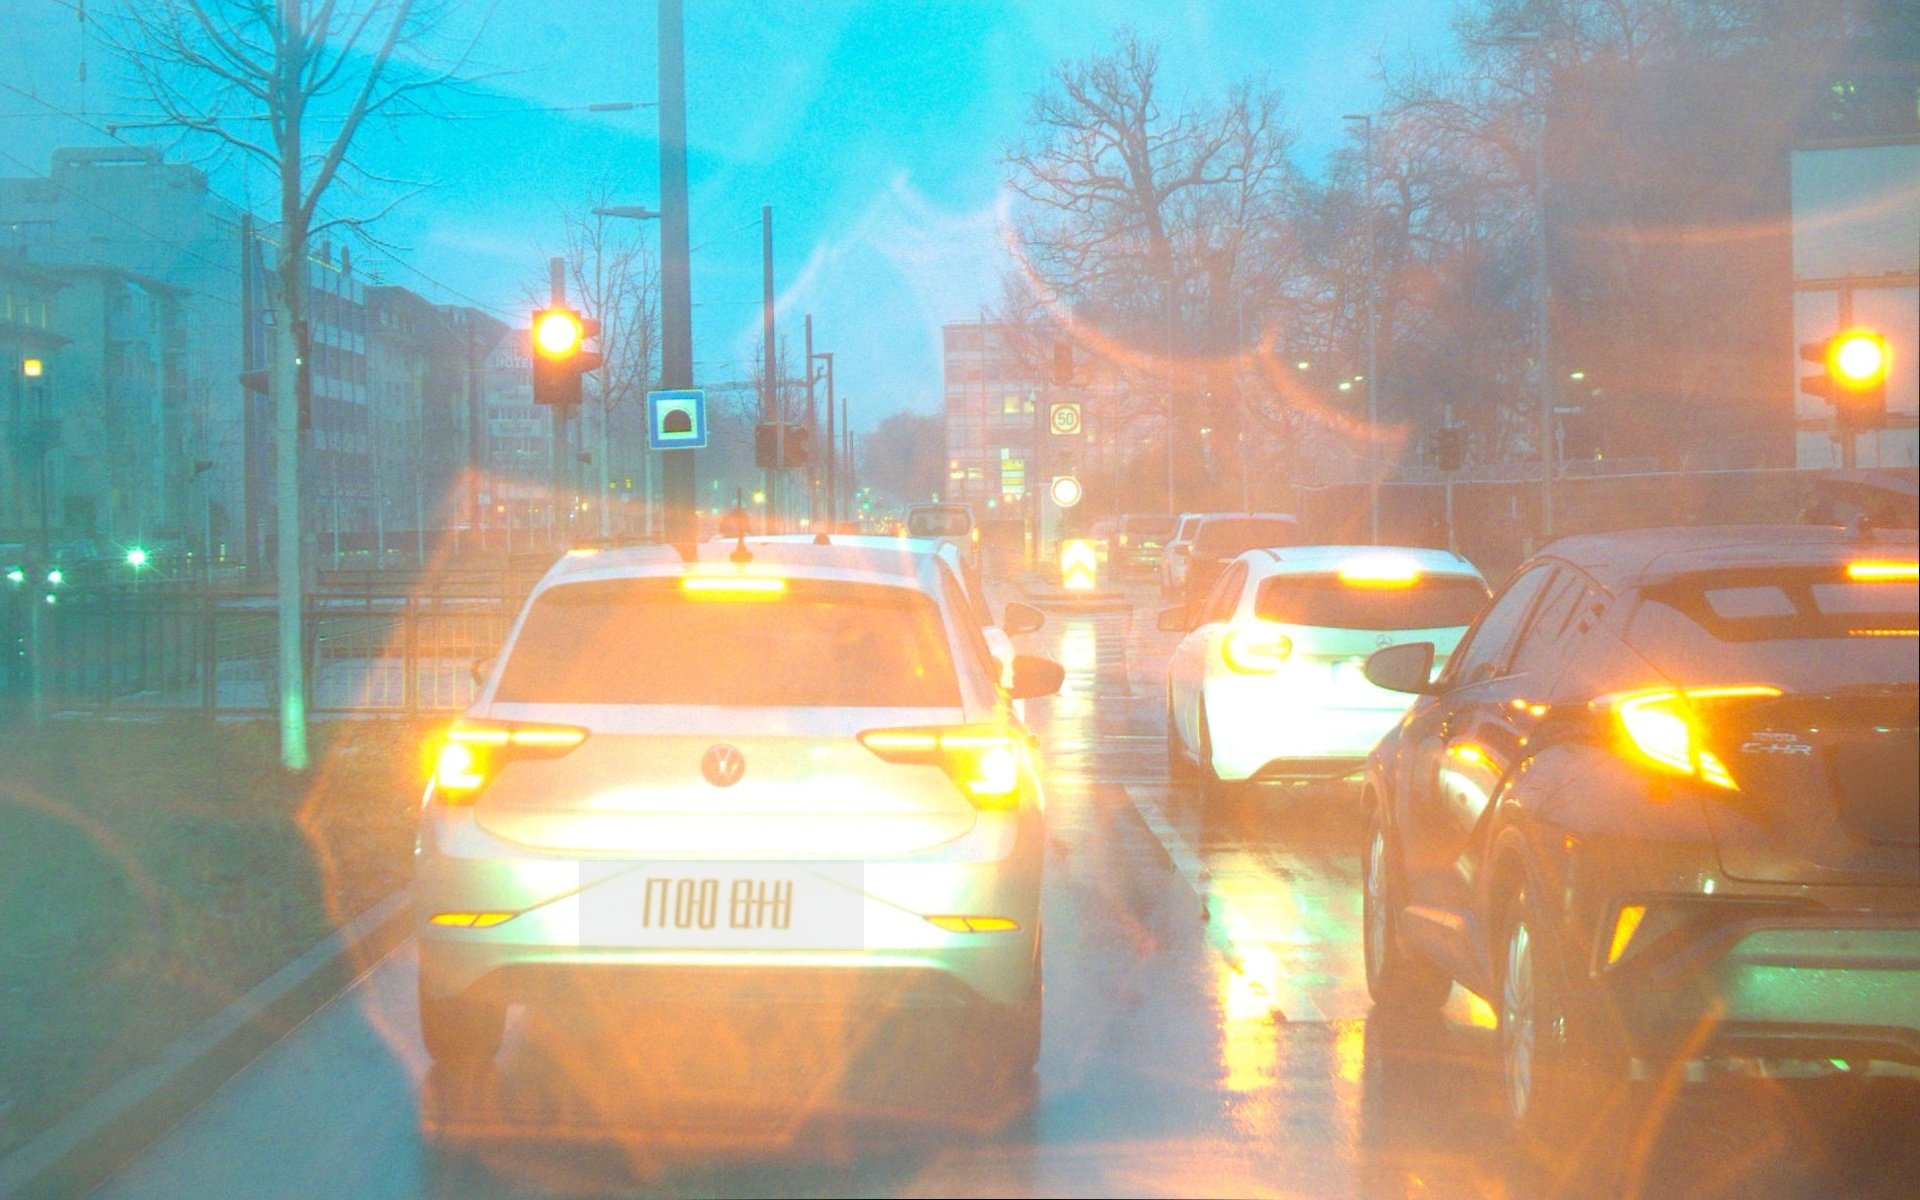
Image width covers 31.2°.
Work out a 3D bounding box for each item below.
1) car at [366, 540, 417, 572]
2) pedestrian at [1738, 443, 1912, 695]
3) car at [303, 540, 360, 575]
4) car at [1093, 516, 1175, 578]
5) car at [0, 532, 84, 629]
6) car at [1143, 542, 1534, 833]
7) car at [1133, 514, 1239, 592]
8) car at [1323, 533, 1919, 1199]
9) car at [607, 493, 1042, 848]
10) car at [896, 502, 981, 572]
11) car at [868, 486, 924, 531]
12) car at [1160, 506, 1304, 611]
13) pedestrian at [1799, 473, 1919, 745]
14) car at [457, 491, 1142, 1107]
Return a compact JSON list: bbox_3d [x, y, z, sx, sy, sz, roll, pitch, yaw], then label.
[{"bbox_3d":[-29.679,-2.291,179.521,1.950,1.597,4.000,1,1,0],"label":"car"},{"bbox_3d":[7.086,-0.264,28.193,0.958,2.007,1.008,-1,1,-22],"label":"pedestrian"},{"bbox_3d":[-29.675,-2.040,162.484,1.950,1.597,4.000,1,1,0],"label":"car"},{"bbox_3d":[4.189,-1.307,83.193,1.737,1.415,4.146,-1,1,0],"label":"car"},{"bbox_3d":[-16.535,-0.374,59.062,1.993,1.597,4.000,1,1,-1],"label":"car"},{"bbox_3d":[1.996,0.407,19.104,1.745,1.428,3.731,1,1,0],"label":"car"},{"bbox_3d":[4.274,-0.916,65.474,1.737,1.415,3.703,-1,1,0],"label":"car"},{"bbox_3d":[2.102,0.581,9.325,1.800,1.505,3.895,-1,1,0],"label":"car"},{"bbox_3d":[-0.576,0.237,16.725,1.799,1.461,4.586,-1,1,0],"label":"car"},{"bbox_3d":[-0.458,-1.355,73.219,1.737,1.415,4.394,-1,1,0],"label":"car"},{"bbox_3d":[-2.060,-2.963,111.224,1.737,1.415,3.804,-1,1,0],"label":"car"},{"bbox_3d":[3.849,-0.617,49.145,1.737,1.415,3.703,-1,1,0],"label":"car"},{"bbox_3d":[6.904,0.056,26.023,0.959,2.007,1.007,-1,1,8],"label":"pedestrian"},{"bbox_3d":[-0.490,0.447,10.548,1.693,1.528,4.001,0,1,-3],"label":"car"}]
